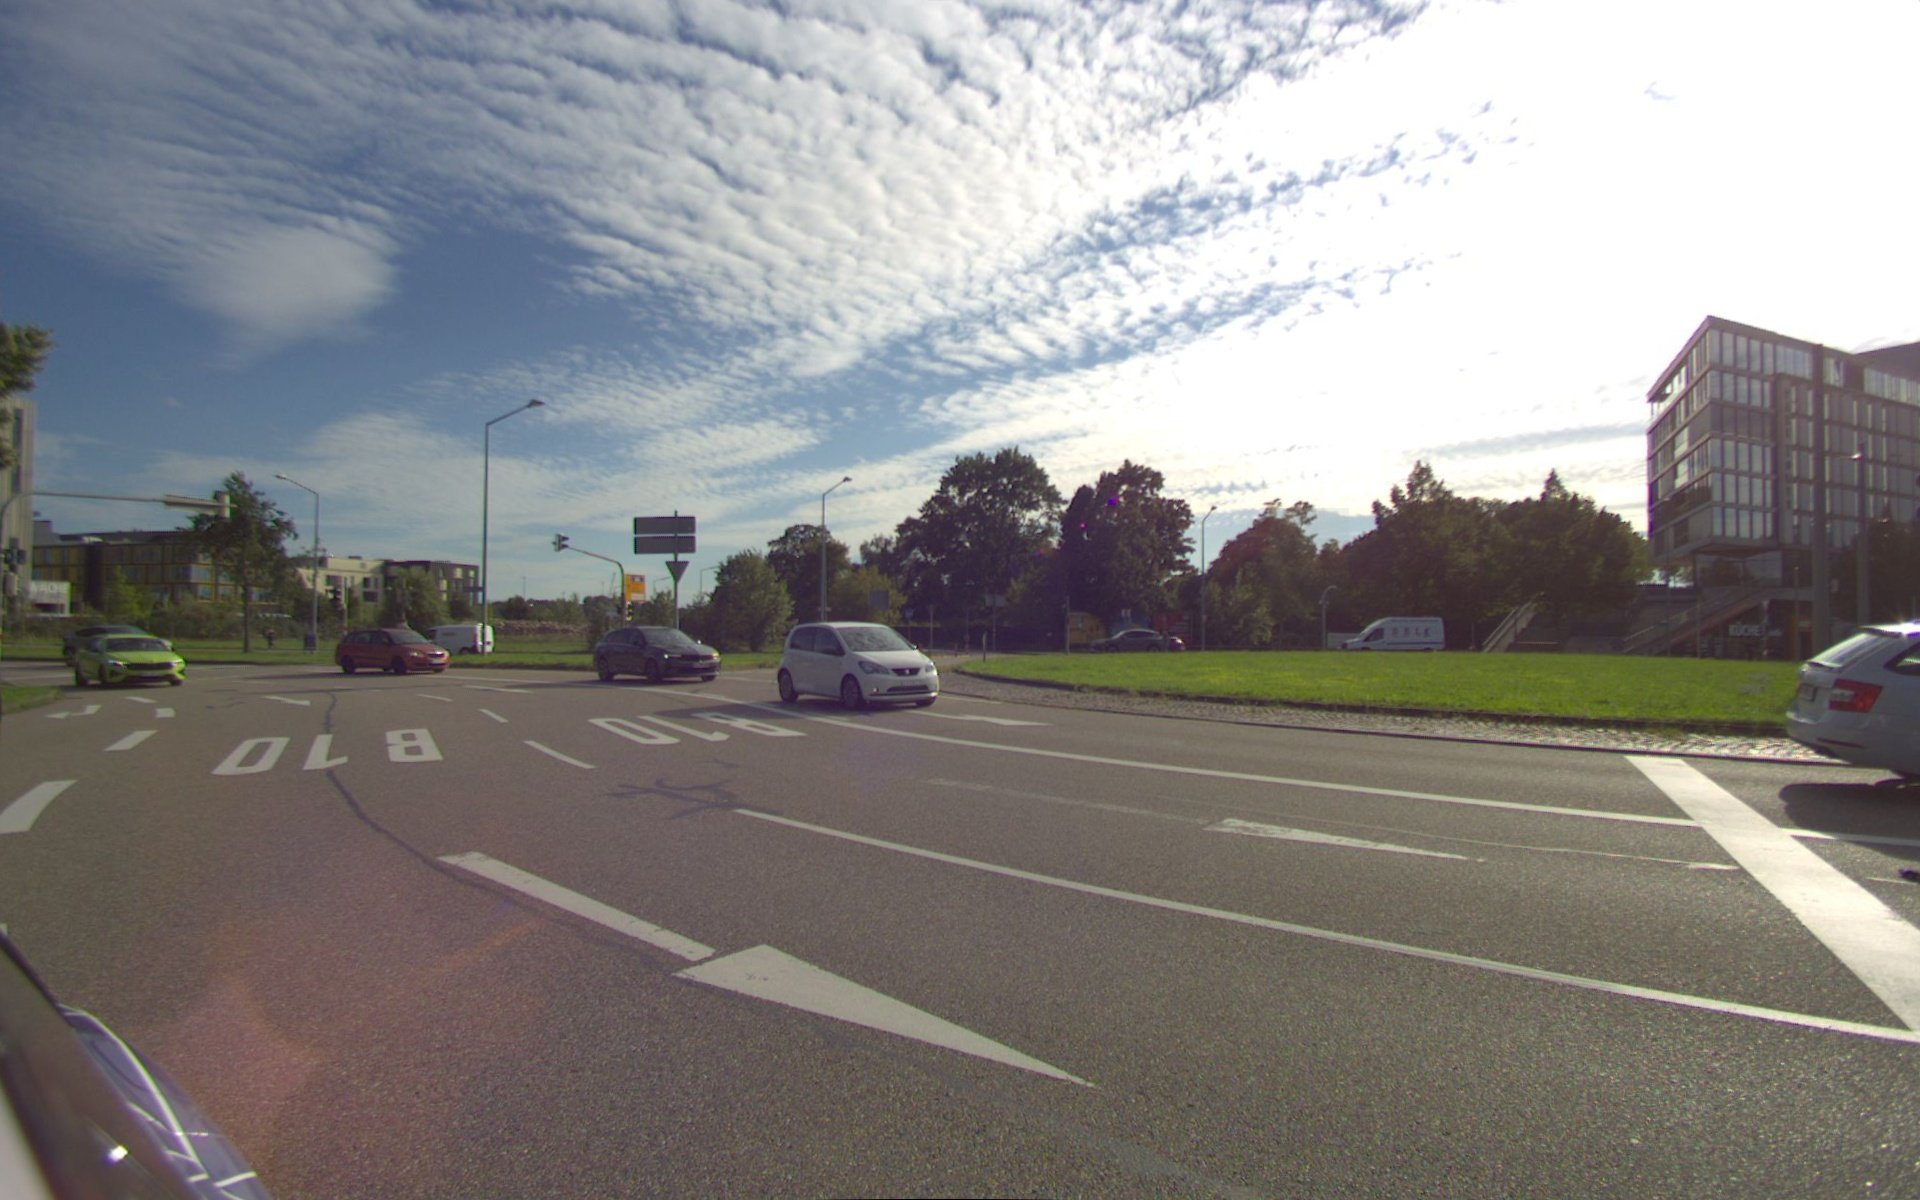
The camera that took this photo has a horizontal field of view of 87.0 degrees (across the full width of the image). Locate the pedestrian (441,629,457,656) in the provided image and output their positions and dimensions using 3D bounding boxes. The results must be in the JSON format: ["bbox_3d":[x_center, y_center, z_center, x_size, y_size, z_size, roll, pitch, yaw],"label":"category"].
[{"bbox_3d":[-32.062,2.676,63.533,0.652,1.642,0.625,-1,-1,18],"label":"pedestrian"}]

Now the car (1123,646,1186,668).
[{"bbox_3d":[13.457,3.969,70.246,3.986,1.513,1.665,-3,-5,36],"label":"car"}]

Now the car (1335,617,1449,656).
[{"bbox_3d":[26.128,2.213,61.332,5.944,2.281,2.064,0,-4,3],"label":"car"}]

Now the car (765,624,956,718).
[{"bbox_3d":[-1.865,1.195,18.061,1.738,1.475,3.668,1,-2,-37],"label":"car"}]

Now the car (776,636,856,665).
[{"bbox_3d":[-7.767,2.743,54.547,3.925,1.513,1.691,2,-4,-22],"label":"car"}]

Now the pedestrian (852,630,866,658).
[{"bbox_3d":[-7.077,3.061,70.844,0.855,1.930,0.896,0,0,2],"label":"pedestrian"}]

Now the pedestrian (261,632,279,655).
[{"bbox_3d":[-46.558,2.942,68.275,0.749,1.519,0.626,0,1,15],"label":"pedestrian"}]

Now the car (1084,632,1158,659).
[{"bbox_3d":[9.420,2.682,59.377,3.930,1.513,1.689,1,-4,-9],"label":"car"}]

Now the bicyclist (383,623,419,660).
[{"bbox_3d":[-23.629,1.756,42.787,0.990,1.568,0.860,-1,-2,20],"label":"bicyclist"}]

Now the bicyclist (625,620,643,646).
[{"bbox_3d":[-18.591,1.907,57.670,0.610,1.457,0.690,-1,-4,35],"label":"bicyclist"}]

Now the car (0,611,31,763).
[{"bbox_3d":[-10.911,0.934,9.852,1.841,1.708,5.029,2,-2,-32],"label":"car"}]

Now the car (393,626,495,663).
[{"bbox_3d":[-26.915,2.334,52.823,4.505,1.839,1.682,0,-4,6],"label":"car"}]

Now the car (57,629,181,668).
[{"bbox_3d":[-33.540,1.922,40.383,4.186,1.486,1.687,-1,-2,14],"label":"car"}]

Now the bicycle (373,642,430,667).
[{"bbox_3d":[-23.586,2.292,42.800,0.994,1.015,1.948,0,-2,19],"label":"bicycle"}]

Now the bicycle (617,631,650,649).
[{"bbox_3d":[-18.601,2.271,57.658,0.609,0.996,1.816,-1,-3,34],"label":"bicycle"}]

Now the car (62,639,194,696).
[{"bbox_3d":[-23.435,1.834,28.457,4.600,1.431,1.873,-2,-2,37],"label":"car"}]

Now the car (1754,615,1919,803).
[{"bbox_3d":[9.278,0.836,7.876,4.622,1.456,1.837,-1,-1,31],"label":"car"}]

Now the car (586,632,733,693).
[{"bbox_3d":[-8.079,1.598,26.999,4.447,1.431,1.798,-1,-1,43],"label":"car"}]

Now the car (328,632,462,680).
[{"bbox_3d":[-18.843,1.844,33.767,4.199,1.486,1.682,-1,-1,23],"label":"car"}]
